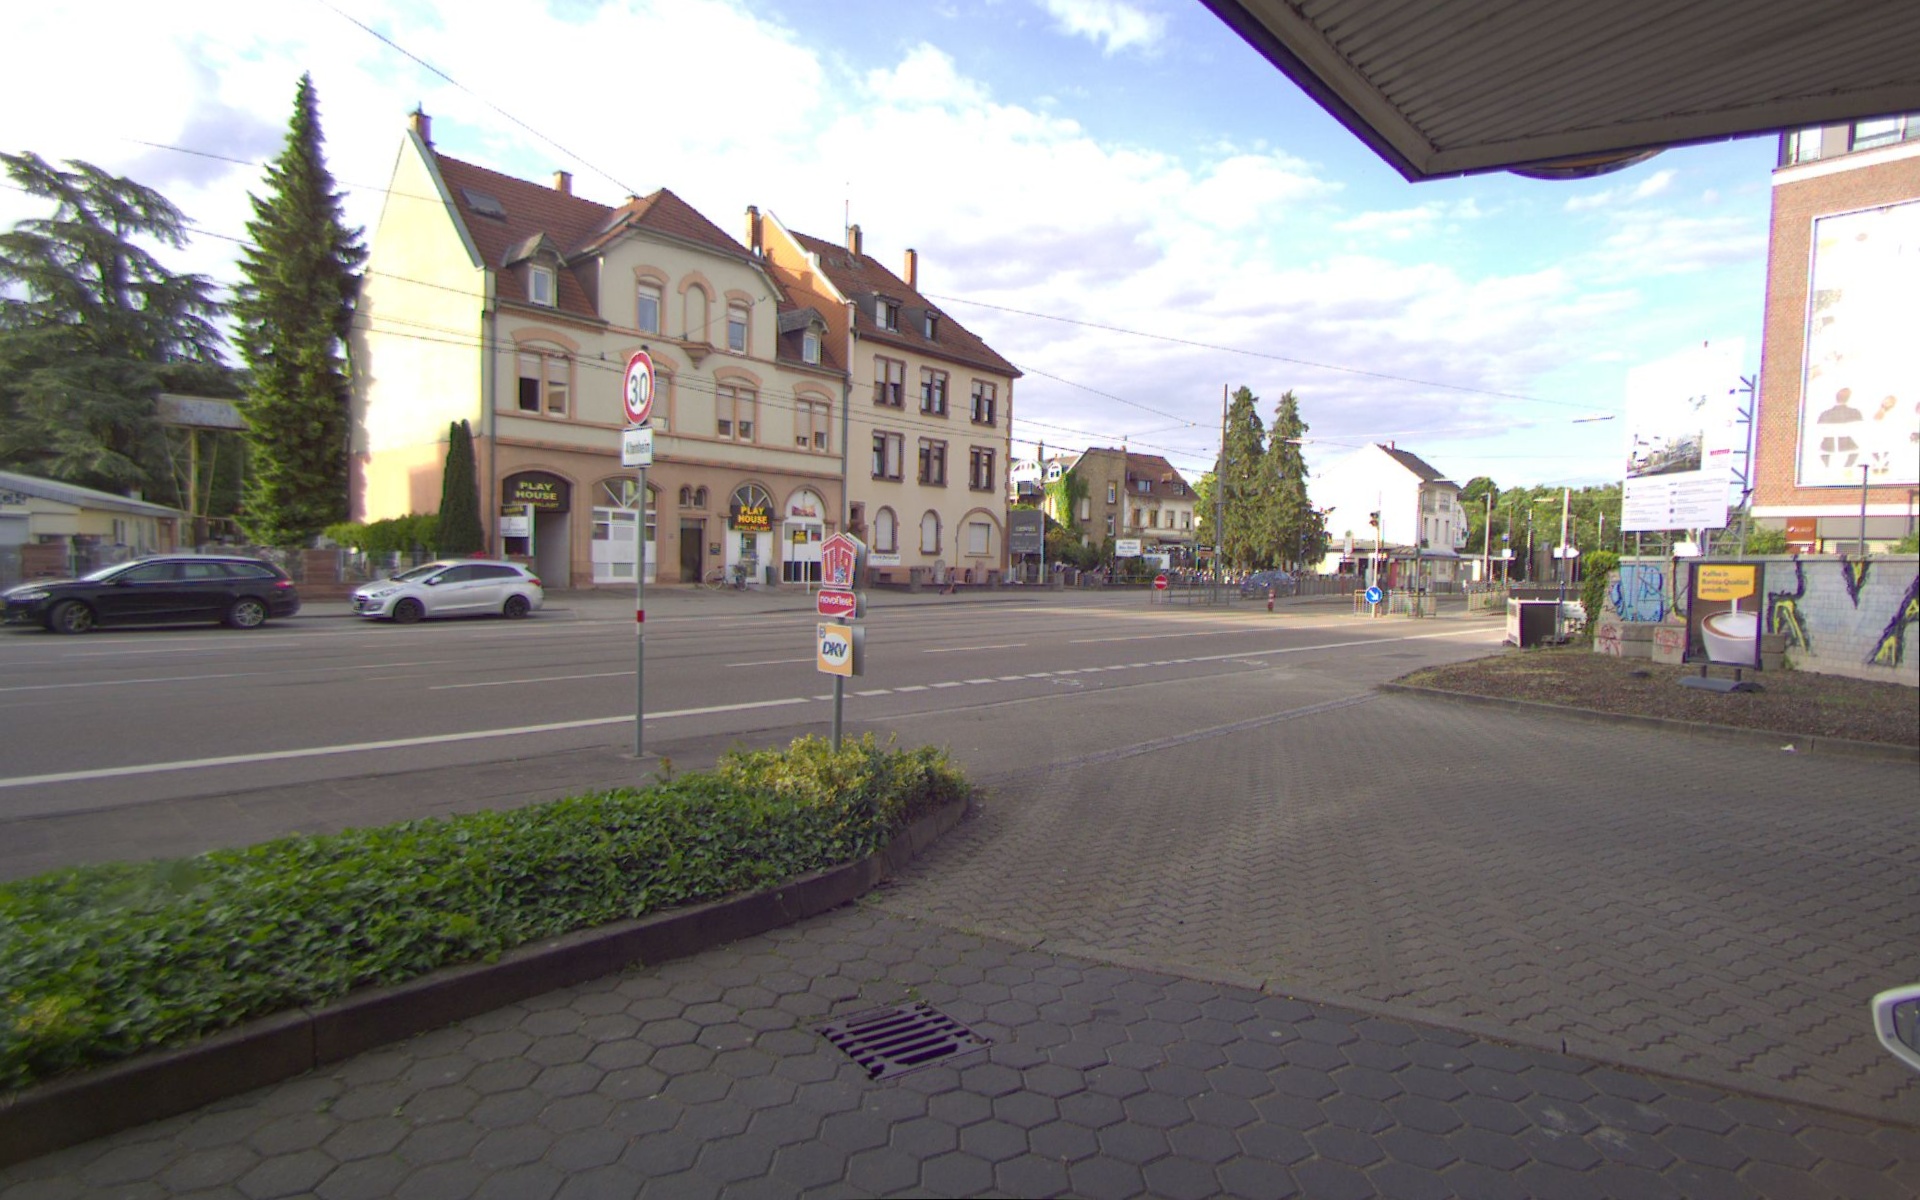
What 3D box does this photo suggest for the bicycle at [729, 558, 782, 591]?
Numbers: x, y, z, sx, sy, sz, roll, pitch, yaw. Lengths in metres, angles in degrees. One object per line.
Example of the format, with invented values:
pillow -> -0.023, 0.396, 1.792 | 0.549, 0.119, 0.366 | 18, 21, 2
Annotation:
bicycle -> -8.246, -1.011, 40.618 | 0.741, 1.219, 2.011 | 8, 5, 41

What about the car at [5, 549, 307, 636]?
car -> -16.485, -0.181, 20.808 | 1.827, 1.542, 4.642 | 5, 4, 40

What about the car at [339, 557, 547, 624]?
car -> -12.927, -0.258, 25.347 | 1.718, 1.502, 4.357 | 3, 2, 41

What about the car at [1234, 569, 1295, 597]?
car -> 17.274, -0.954, 56.889 | 1.835, 1.489, 4.119 | 3, 3, 39

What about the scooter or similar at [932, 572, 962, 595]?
scooter or similar -> -0.565, -0.725, 45.084 | 0.437, 1.006, 1.460 | 6, 5, 41
